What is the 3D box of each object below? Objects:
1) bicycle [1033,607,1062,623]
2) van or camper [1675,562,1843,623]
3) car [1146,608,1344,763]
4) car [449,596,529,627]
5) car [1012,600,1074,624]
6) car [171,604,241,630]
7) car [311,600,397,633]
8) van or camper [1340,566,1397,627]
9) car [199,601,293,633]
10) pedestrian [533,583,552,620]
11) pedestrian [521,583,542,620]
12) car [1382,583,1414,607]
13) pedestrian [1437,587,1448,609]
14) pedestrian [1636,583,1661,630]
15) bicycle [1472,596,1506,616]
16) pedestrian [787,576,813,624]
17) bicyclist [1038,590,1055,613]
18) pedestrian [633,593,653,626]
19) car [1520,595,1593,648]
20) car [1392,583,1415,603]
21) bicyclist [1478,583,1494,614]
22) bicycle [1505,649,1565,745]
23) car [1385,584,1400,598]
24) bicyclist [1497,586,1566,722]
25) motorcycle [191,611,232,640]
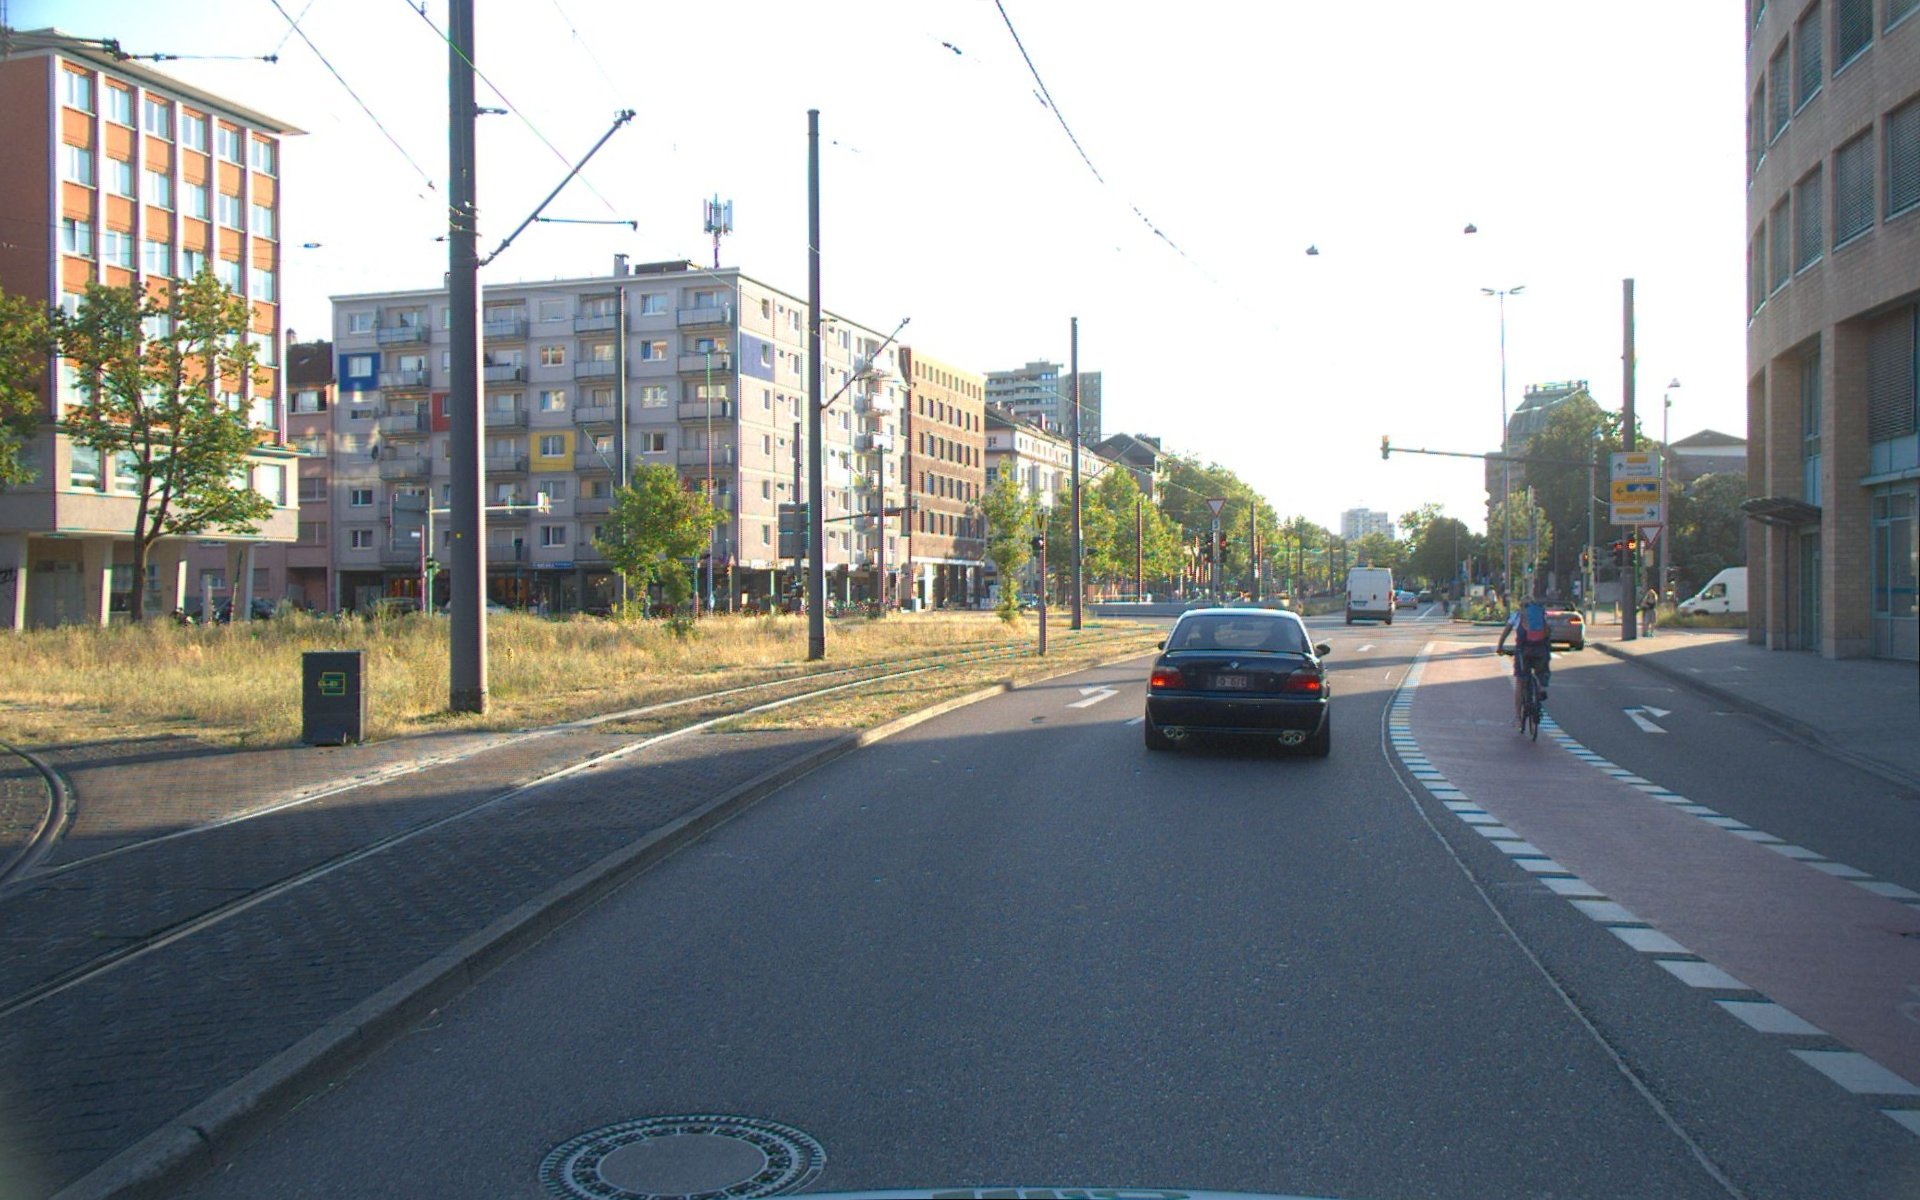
[{"bbox_3d":[5.643,0.978,106.864,1.703,0.986,0.700,1,2,-21],"label":"bicycle"},{"bbox_3d":[37.634,-0.356,78.175,6.896,2.721,2.599,-1,1,20],"label":"van or camper"},{"bbox_3d":[3.107,0.790,17.501,1.791,1.378,4.645,1,0,12],"label":"car"},{"bbox_3d":[-25.820,0.619,90.751,3.782,1.612,1.805,-1,1,12],"label":"car"},{"bbox_3d":[5.468,0.804,109.221,3.911,1.459,1.716,0,2,-7],"label":"car"},{"bbox_3d":[-49.351,1.098,108.235,3.782,1.612,1.805,-1,1,12],"label":"car"},{"bbox_3d":[-31.385,0.841,85.700,3.782,1.612,1.805,-1,1,12],"label":"car"},{"bbox_3d":[18.666,-0.187,75.403,2.215,2.670,4.505,-1,1,18],"label":"van or camper"},{"bbox_3d":[-38.139,0.899,88.420,4.188,1.612,1.991,-1,1,12],"label":"car"},{"bbox_3d":[-21.455,0.064,85.057,0.589,1.879,0.823,-1,1,18],"label":"pedestrian"},{"bbox_3d":[-22.131,0.067,85.433,0.690,1.884,0.737,-1,1,18],"label":"pedestrian"},{"bbox_3d":[27.385,-0.333,103.339,1.701,1.410,4.003,-1,1,18],"label":"car"},{"bbox_3d":[33.285,-0.127,114.087,0.603,1.501,0.800,-1,1,21],"label":"pedestrian"},{"bbox_3d":[23.782,0.218,57.130,0.662,1.597,0.801,-1,1,15],"label":"pedestrian"},{"bbox_3d":[27.769,0.317,86.885,1.692,0.987,0.610,0,1,17],"label":"bicycle"},{"bbox_3d":[-6.026,-0.012,62.324,0.708,1.793,0.647,0,1,39],"label":"pedestrian"},{"bbox_3d":[5.592,0.106,106.801,0.841,1.467,0.659,1,2,-21],"label":"bicyclist"},{"bbox_3d":[-16.525,0.504,86.228,0.724,1.698,0.783,-1,1,22],"label":"pedestrian"},{"bbox_3d":[17.463,0.589,48.572,1.746,1.377,4.270,1,1,16],"label":"car"},{"bbox_3d":[37.492,-0.575,139.959,1.756,1.593,4.004,-1,1,13],"label":"car"},{"bbox_3d":[27.655,-0.100,86.920,0.781,1.598,0.663,-1,1,17],"label":"bicyclist"},{"bbox_3d":[6.632,1.096,19.135,0.504,0.971,1.777,1,1,15],"label":"bicycle"},{"bbox_3d":[52.820,-1.065,202.025,1.756,1.593,4.004,-1,1,13],"label":"car"},{"bbox_3d":[6.620,0.605,19.194,0.641,1.509,1.039,1,0,15],"label":"bicyclist"},{"bbox_3d":[-29.234,0.984,64.582,1.419,1.087,0.531,-1,1,16],"label":"motorcycle"}]
